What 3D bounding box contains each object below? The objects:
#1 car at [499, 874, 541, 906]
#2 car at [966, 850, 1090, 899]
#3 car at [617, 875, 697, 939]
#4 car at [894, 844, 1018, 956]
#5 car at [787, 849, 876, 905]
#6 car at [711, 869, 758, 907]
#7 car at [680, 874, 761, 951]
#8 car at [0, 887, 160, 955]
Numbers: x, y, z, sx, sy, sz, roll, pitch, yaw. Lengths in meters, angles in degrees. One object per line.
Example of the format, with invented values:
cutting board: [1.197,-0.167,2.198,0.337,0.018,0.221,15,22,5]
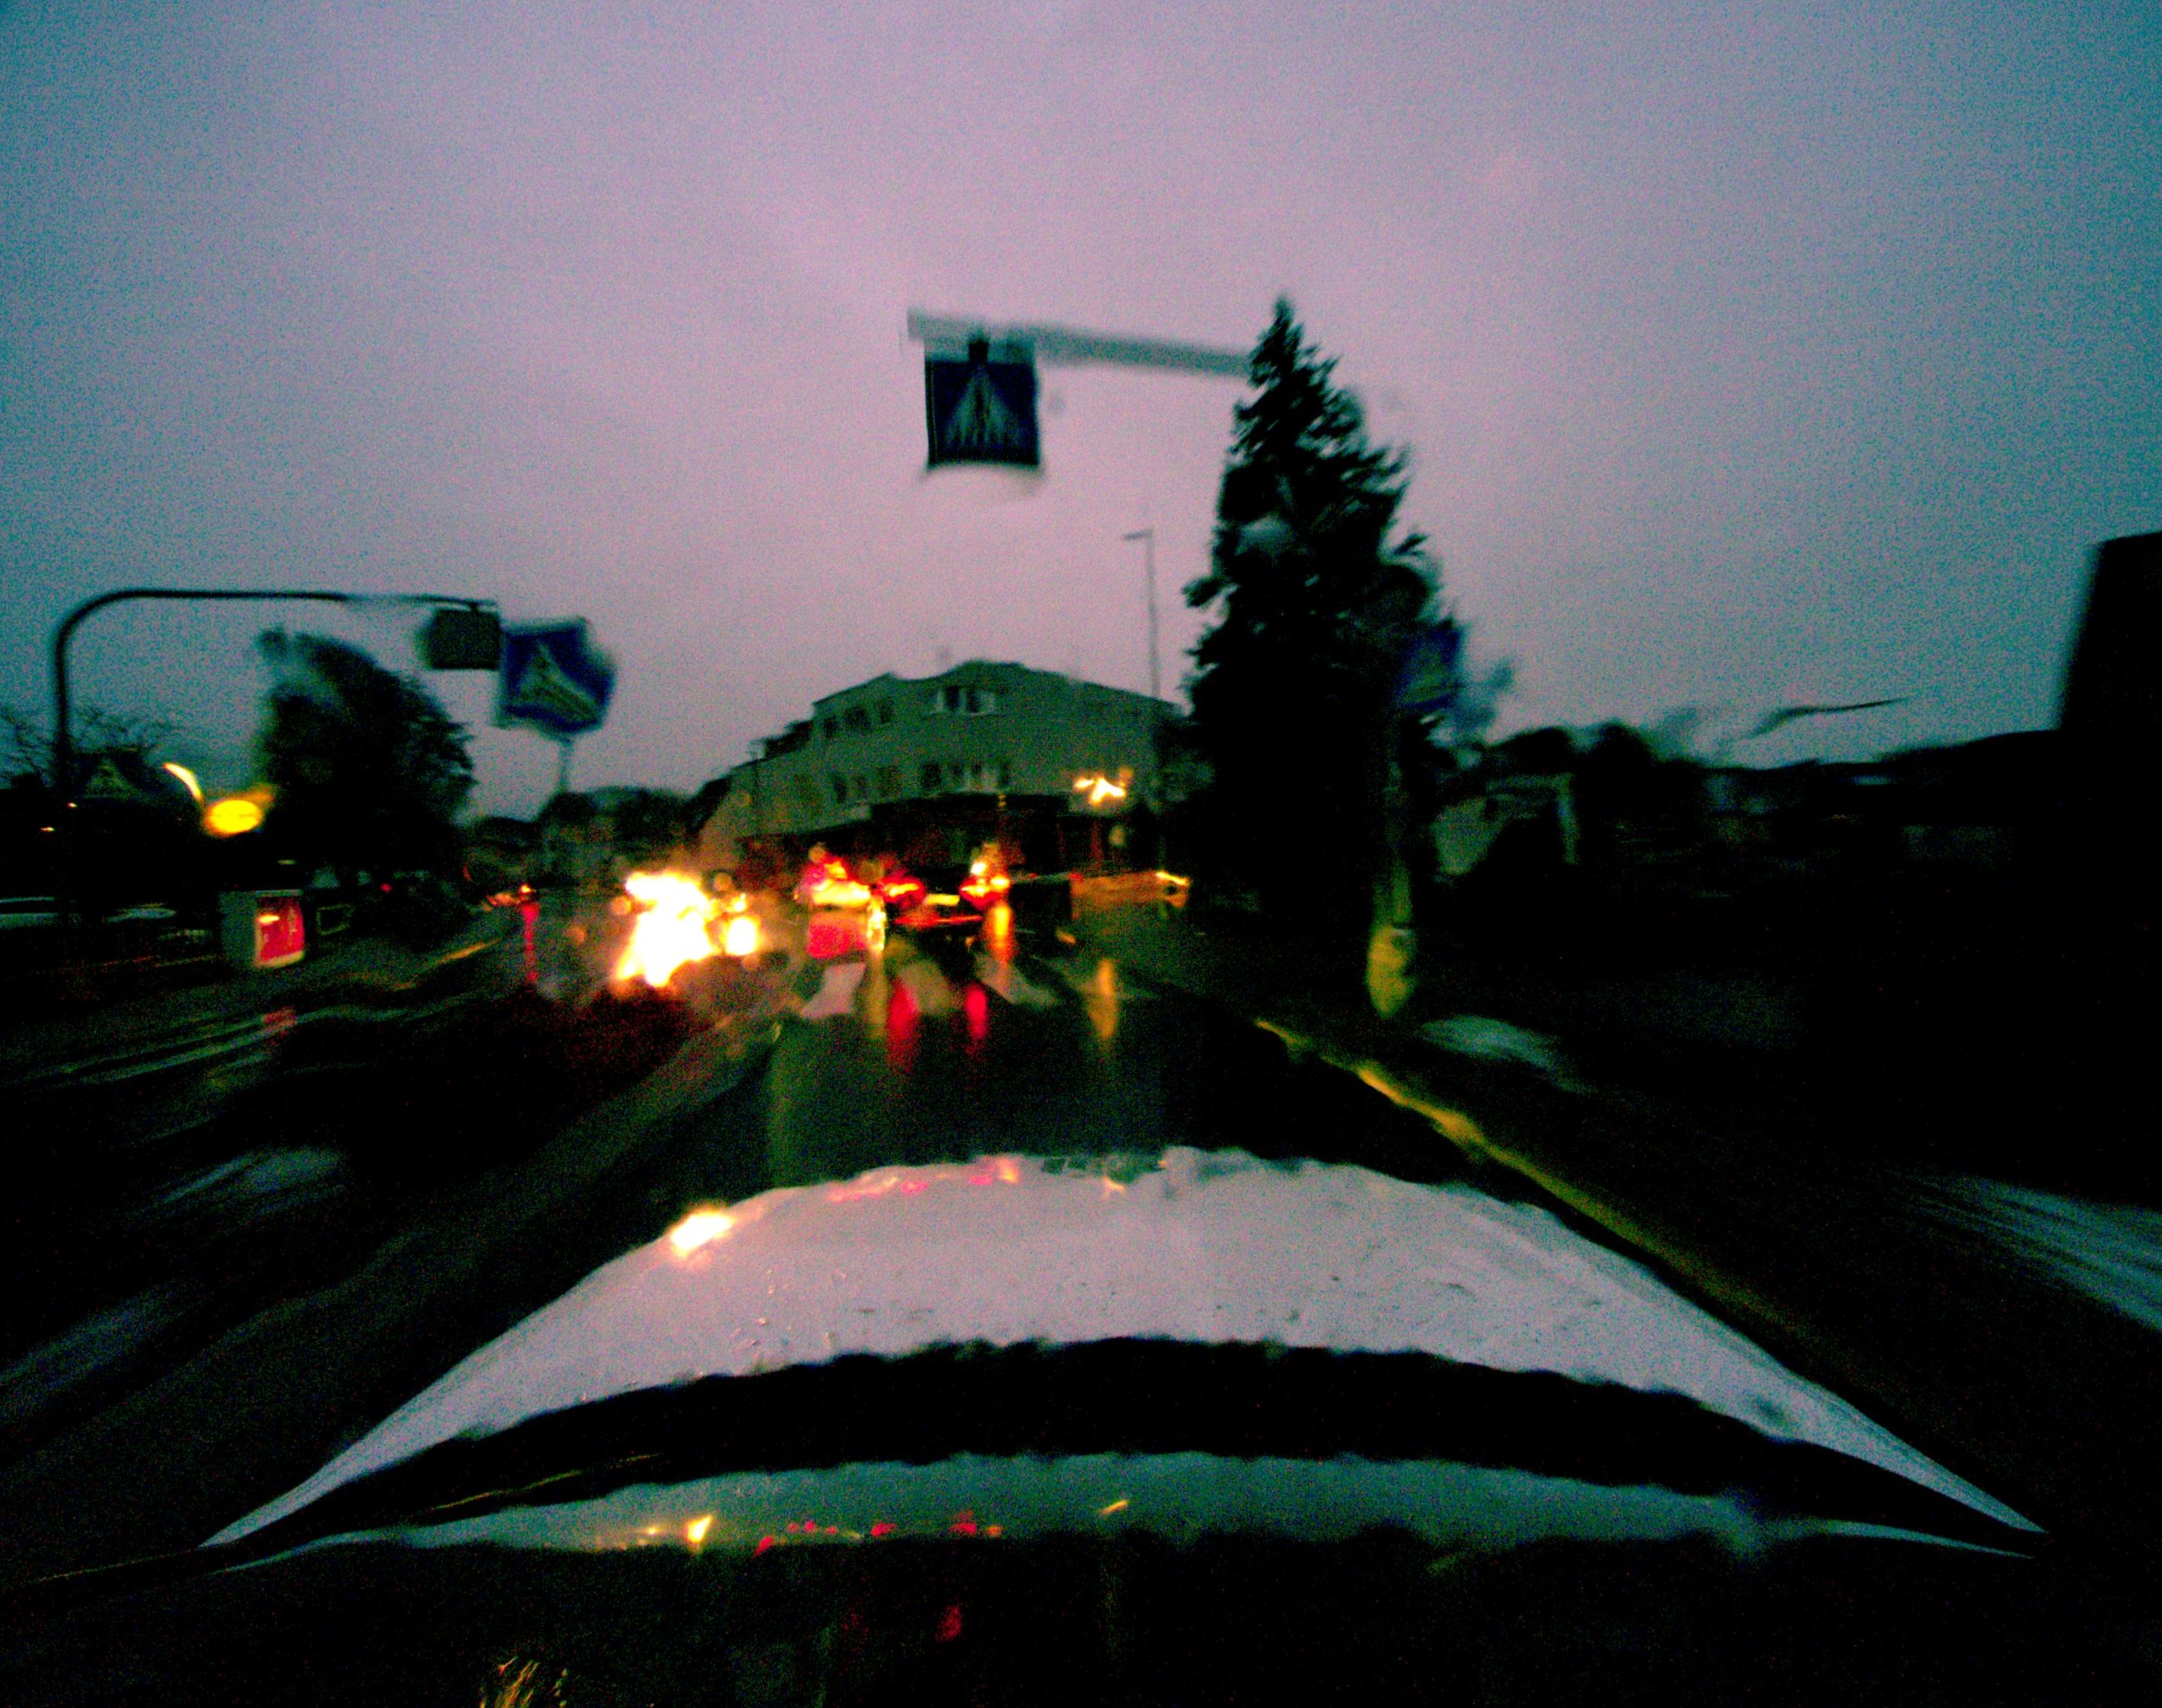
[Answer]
car: [-36.392,2.299,52.866,2.079,1.833,4.522,-3,1,-34]
car: [-1.926,0.728,30.931,1.884,1.572,4.599,-1,1,44]
car: [-16.370,1.958,31.682,2.172,2.060,4.539,-3,1,-21]
car: [-2.404,0.736,15.374,1.945,1.718,3.985,-3,1,-11]
car: [-8.783,0.747,28.412,2.175,1.689,4.531,-3,1,-27]
car: [-18.574,1.771,43.564,2.074,1.717,4.533,-3,1,-26]
car: [-11.873,1.825,27.023,2.172,2.060,4.537,-3,1,-22]
car: [-31.537,2.041,24.888,1.685,1.747,4.383,-2,1,44]
